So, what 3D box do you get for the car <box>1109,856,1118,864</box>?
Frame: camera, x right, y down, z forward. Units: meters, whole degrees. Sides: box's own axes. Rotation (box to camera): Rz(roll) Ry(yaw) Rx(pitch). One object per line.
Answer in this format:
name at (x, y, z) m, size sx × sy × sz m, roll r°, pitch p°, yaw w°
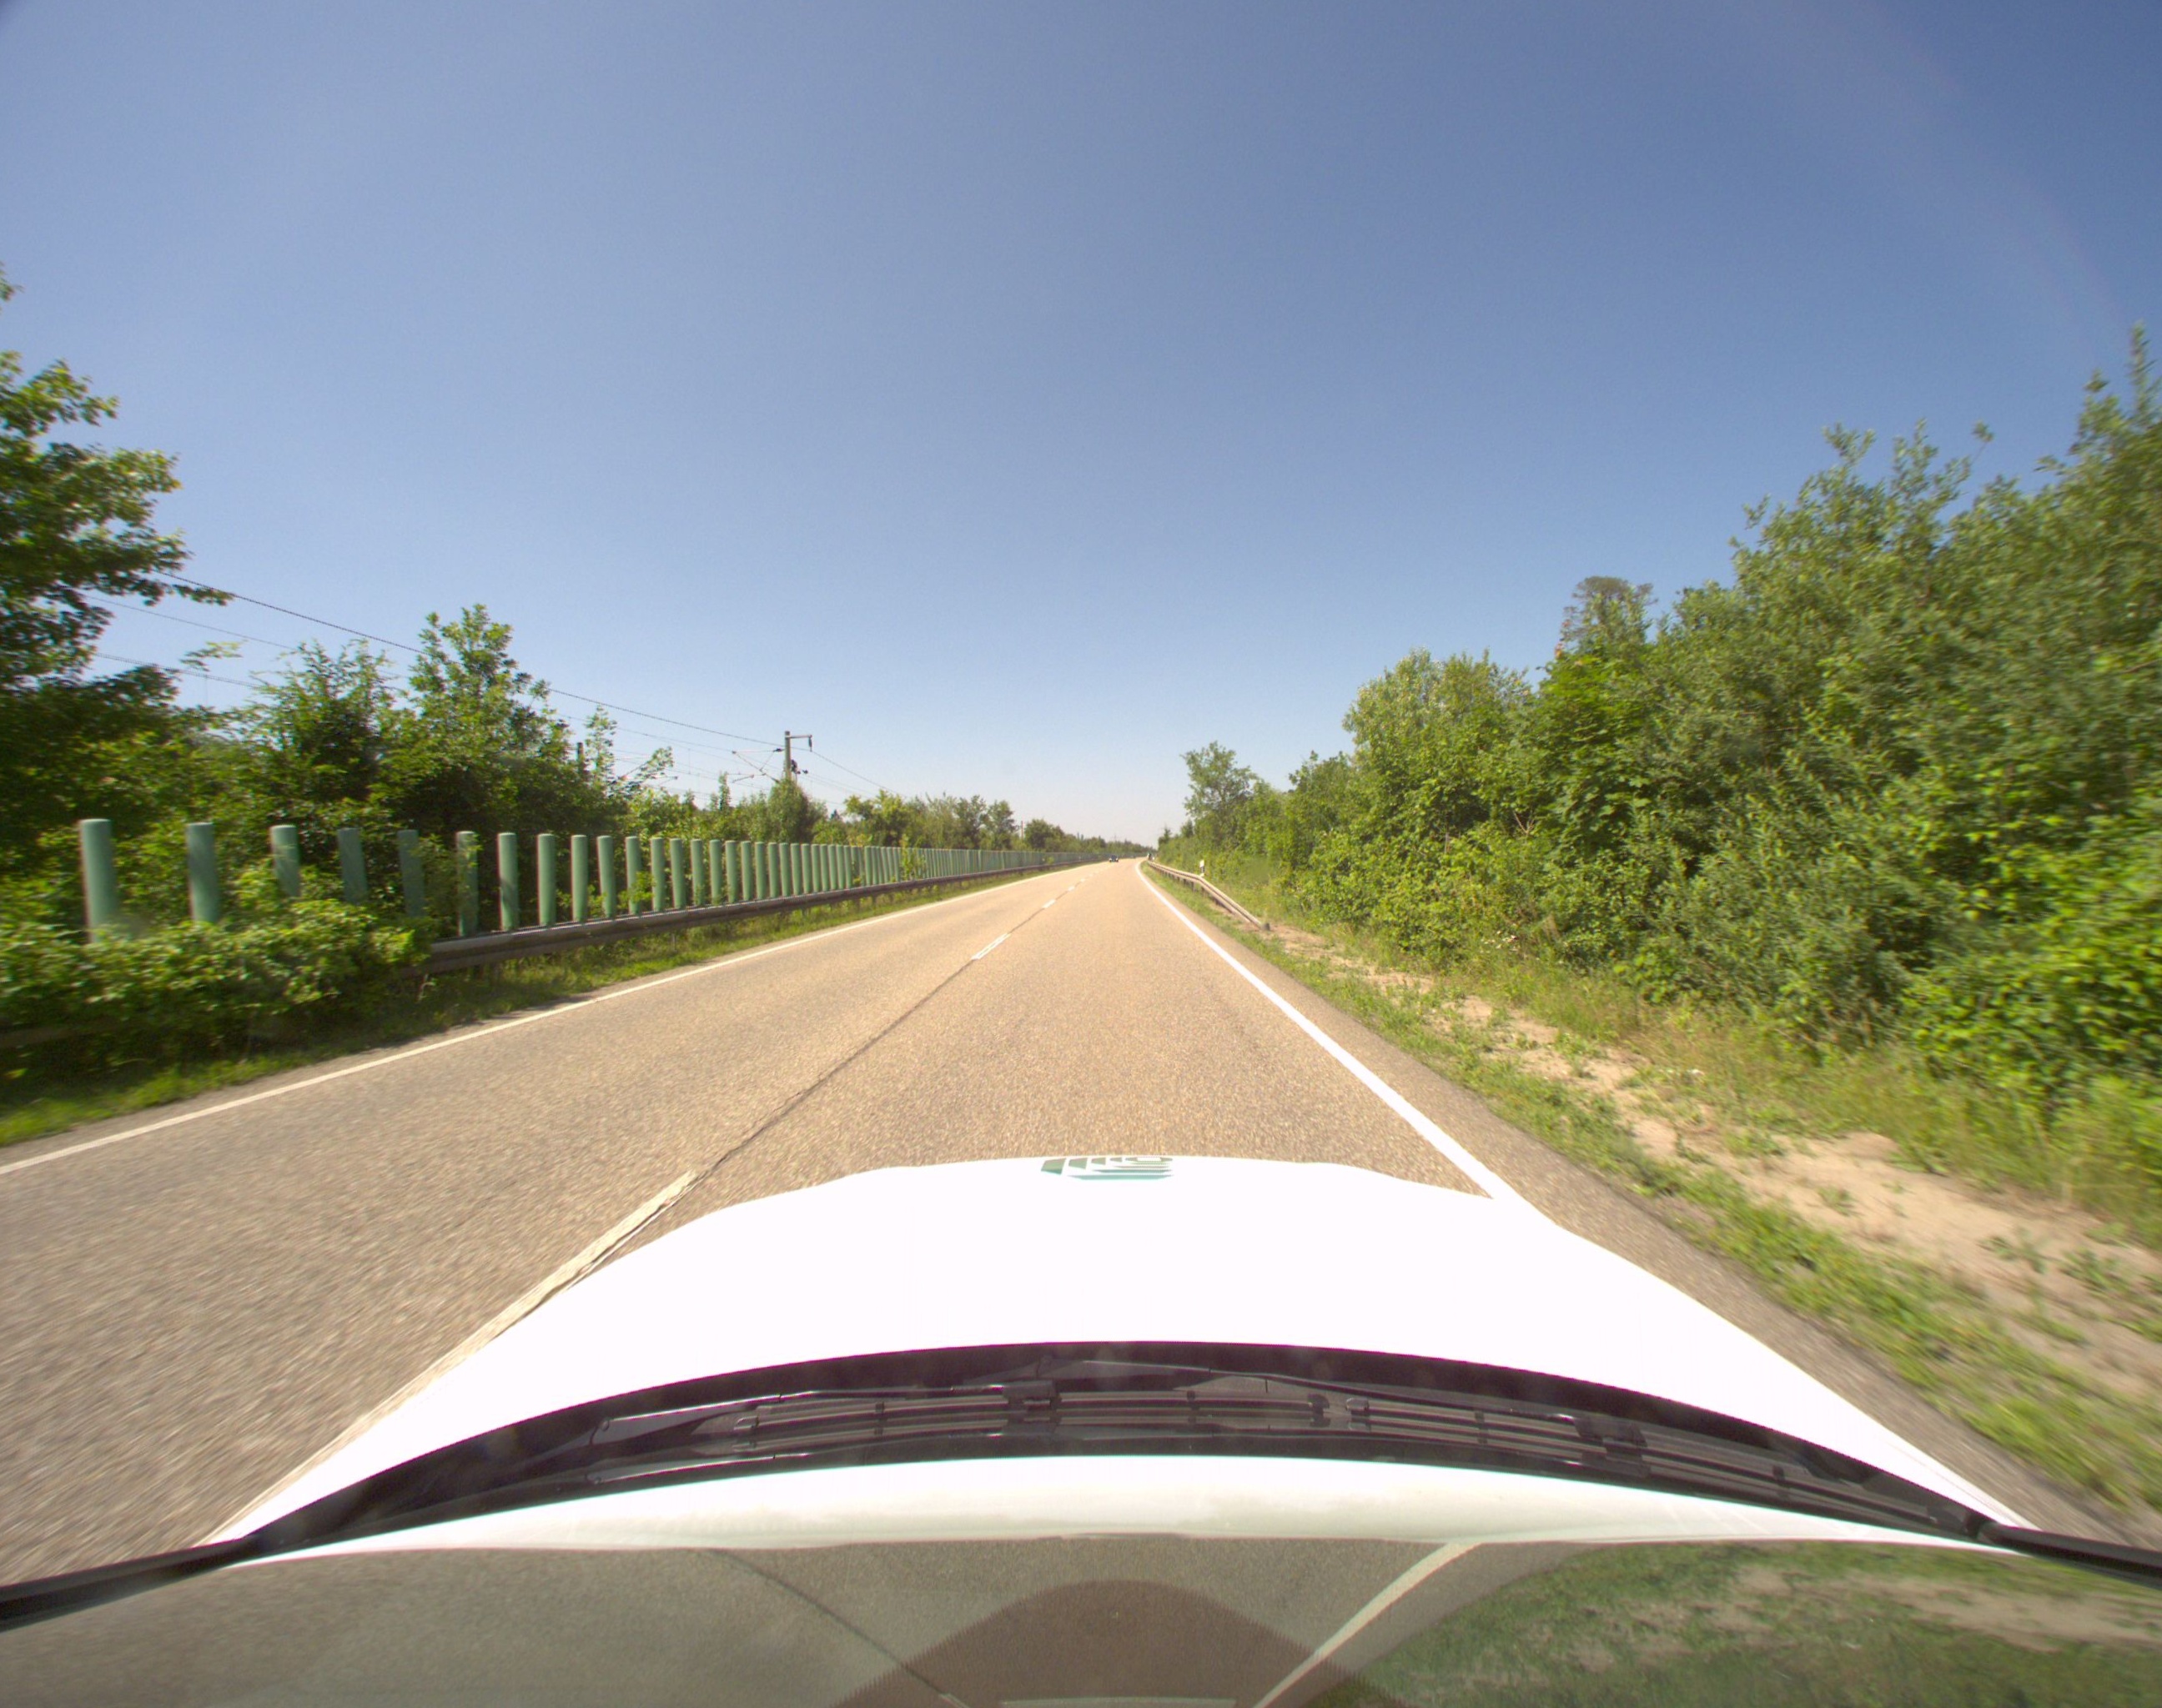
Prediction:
car at (6.693, 1.220, 167.069) m, size 1.756 × 1.640 × 4.129 m, roll -1°, pitch -1°, yaw 3°
